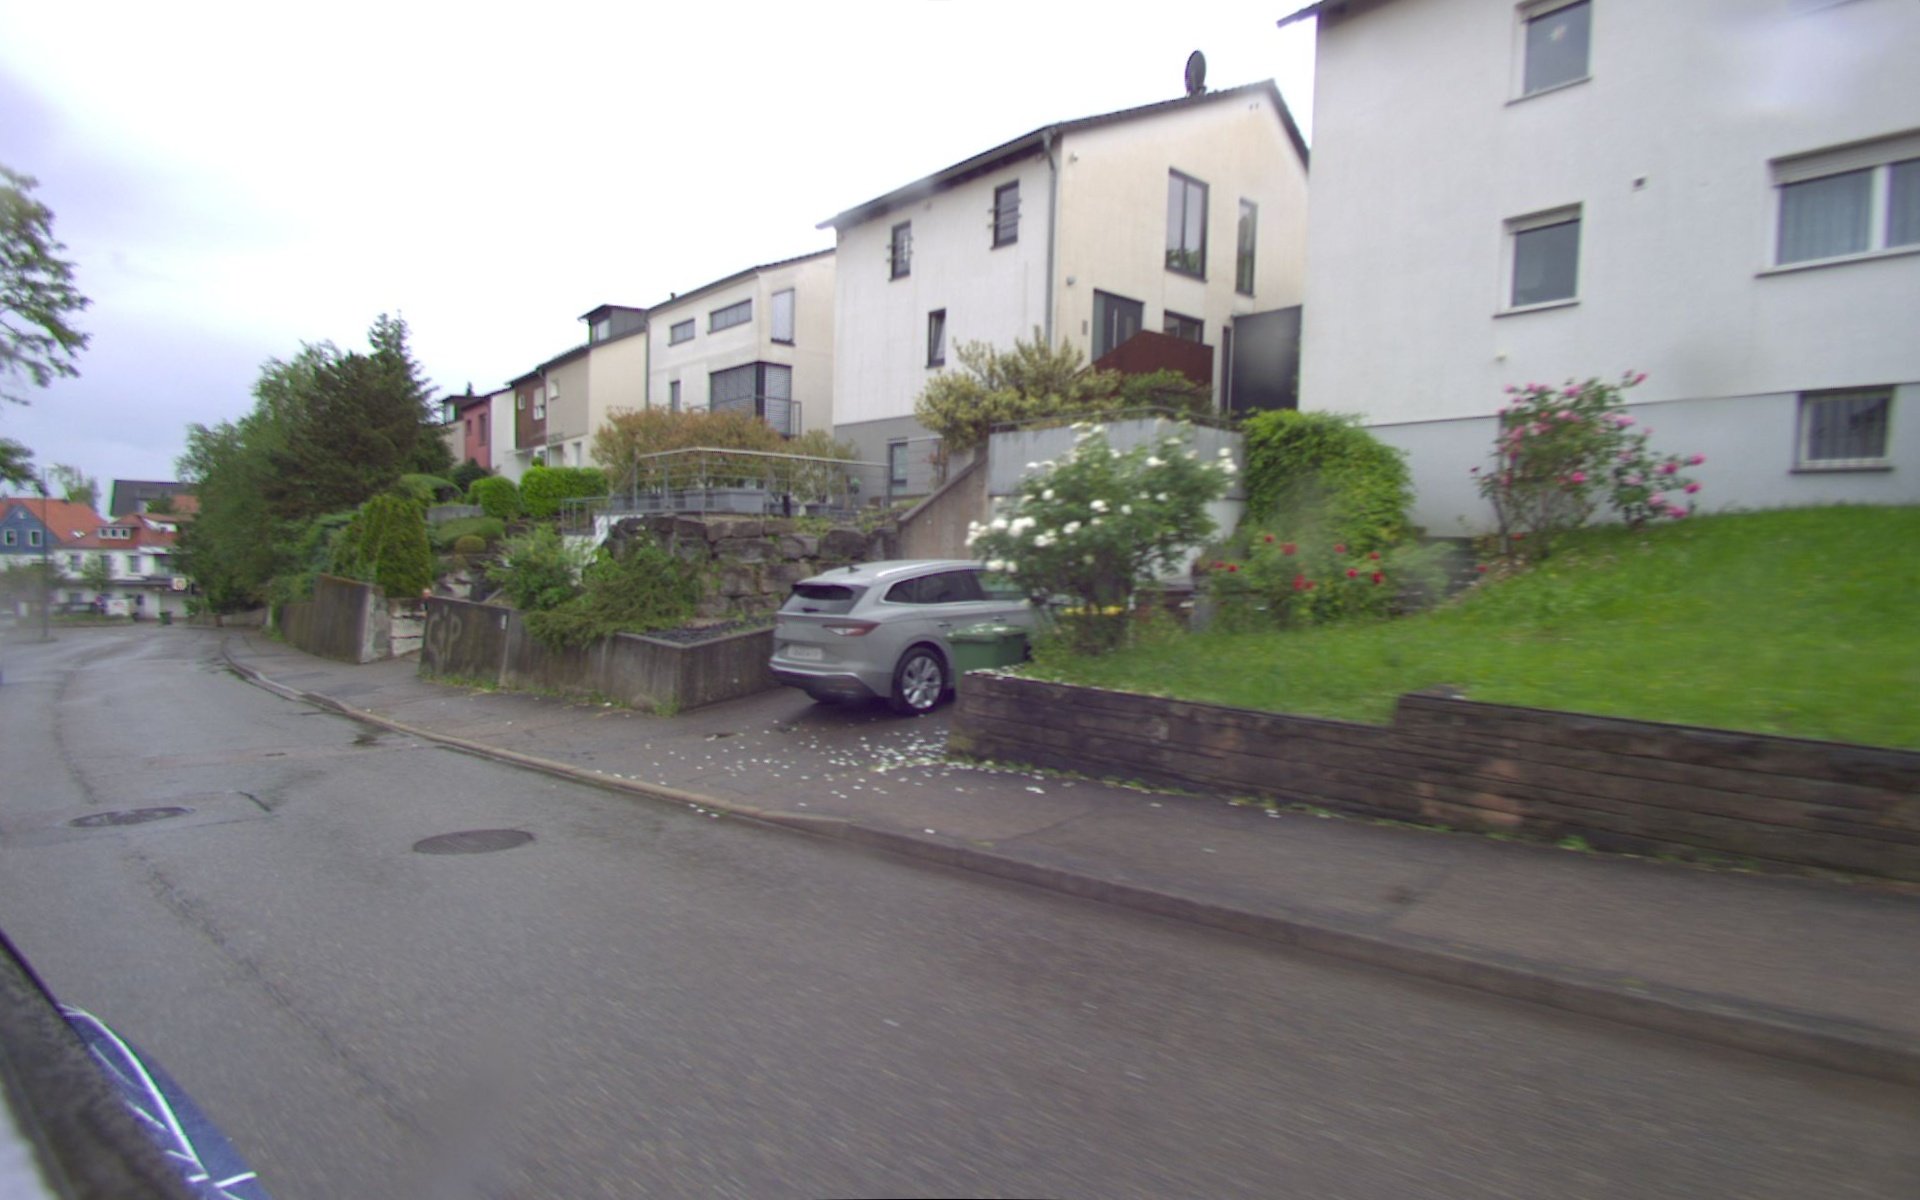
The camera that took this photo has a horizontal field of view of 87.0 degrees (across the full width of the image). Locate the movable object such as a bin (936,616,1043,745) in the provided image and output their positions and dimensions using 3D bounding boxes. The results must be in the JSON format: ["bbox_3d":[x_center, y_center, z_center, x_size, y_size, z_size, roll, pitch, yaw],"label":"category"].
[{"bbox_3d":[0.275,0.722,9.393,0.743,1.083,0.532,-1,5,43],"label":"movable object such as a bin"}]

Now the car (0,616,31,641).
[{"bbox_3d":[-78.368,2.352,83.390,4.176,1.888,2.087,-1,0,39],"label":"car"}]

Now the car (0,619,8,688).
[{"bbox_3d":[-20.074,1.114,19.797,1.835,1.388,4.188,-2,0,-40],"label":"car"}]

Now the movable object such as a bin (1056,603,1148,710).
[{"bbox_3d":[1.481,0.575,10.553,0.710,1.027,0.532,-1,4,43],"label":"movable object such as a bin"}]

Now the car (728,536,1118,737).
[{"bbox_3d":[-0.261,0.266,12.139,1.933,1.625,4.461,-1,7,45],"label":"car"}]

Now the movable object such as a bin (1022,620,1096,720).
[{"bbox_3d":[1.008,0.696,10.266,0.479,0.931,0.495,-7,4,-43],"label":"movable object such as a bin"}]

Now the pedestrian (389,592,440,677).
[{"bbox_3d":[-10.915,0.682,20.251,0.732,1.661,0.649,-3,-1,42],"label":"pedestrian"}]
